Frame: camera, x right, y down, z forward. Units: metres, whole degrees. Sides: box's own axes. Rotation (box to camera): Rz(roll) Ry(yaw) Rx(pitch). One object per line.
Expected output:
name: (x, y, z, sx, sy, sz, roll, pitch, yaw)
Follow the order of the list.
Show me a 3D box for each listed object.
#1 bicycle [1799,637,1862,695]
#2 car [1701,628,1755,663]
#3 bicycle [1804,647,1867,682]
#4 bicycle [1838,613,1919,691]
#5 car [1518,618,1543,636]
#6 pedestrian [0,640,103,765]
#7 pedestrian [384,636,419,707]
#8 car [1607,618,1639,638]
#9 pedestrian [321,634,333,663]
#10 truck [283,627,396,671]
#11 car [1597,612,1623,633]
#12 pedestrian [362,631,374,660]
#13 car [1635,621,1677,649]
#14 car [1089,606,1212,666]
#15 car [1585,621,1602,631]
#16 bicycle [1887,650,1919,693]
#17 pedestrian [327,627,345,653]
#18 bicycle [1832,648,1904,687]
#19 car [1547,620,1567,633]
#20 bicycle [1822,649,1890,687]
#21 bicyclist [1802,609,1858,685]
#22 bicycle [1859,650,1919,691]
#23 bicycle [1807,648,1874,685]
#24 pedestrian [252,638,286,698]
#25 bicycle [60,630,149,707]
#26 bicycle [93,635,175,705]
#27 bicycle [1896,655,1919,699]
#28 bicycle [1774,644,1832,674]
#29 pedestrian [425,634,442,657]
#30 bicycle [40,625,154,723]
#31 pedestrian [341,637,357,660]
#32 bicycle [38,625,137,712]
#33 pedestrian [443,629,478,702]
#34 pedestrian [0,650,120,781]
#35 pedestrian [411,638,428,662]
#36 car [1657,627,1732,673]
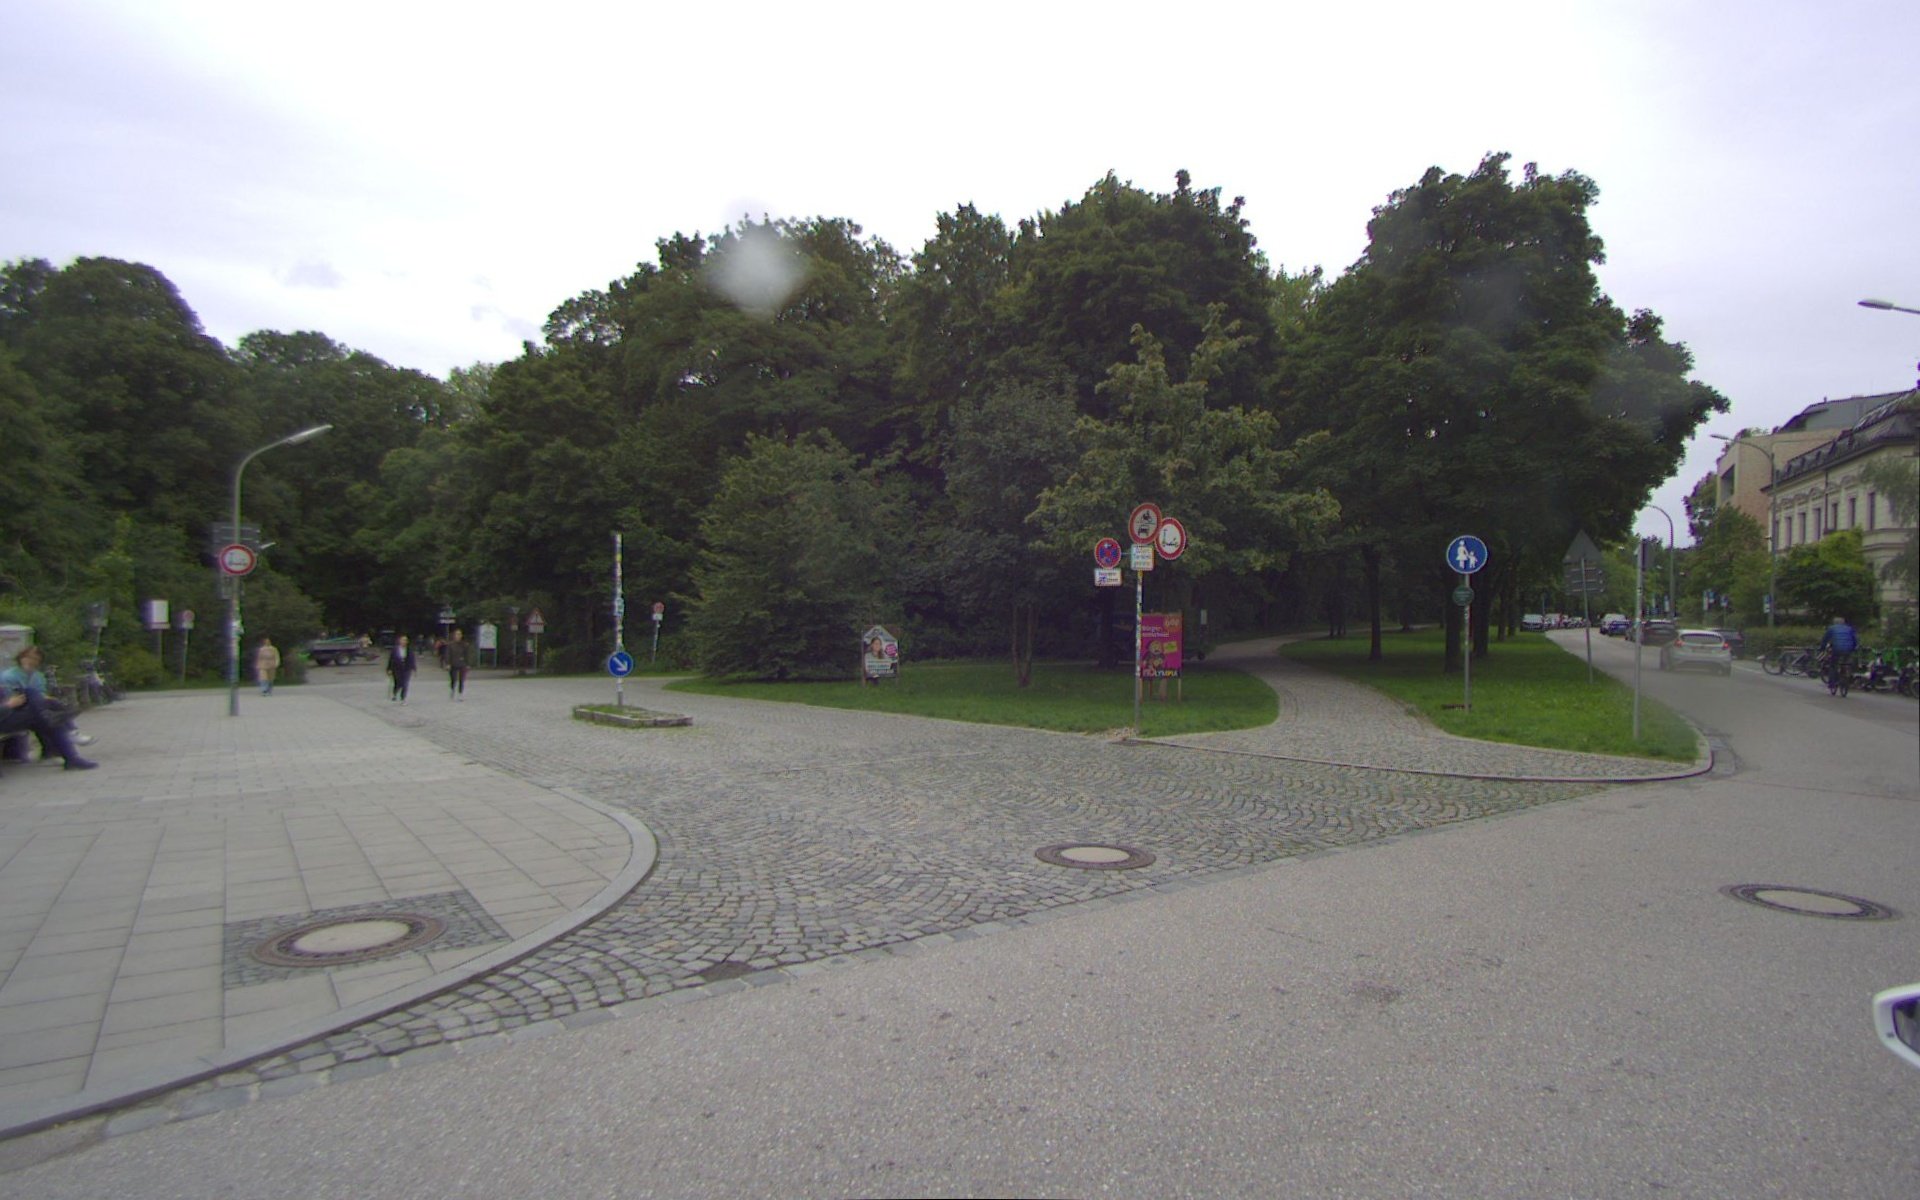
bicycle: (21.004, 1.557, 24.276, 0.909, 1.269, 2.314, 0, -1, 35)
car: (36.540, 2.126, 47.873, 1.623, 1.579, 3.552, 0, -1, 31)
bicycle: (25.863, 1.903, 29.675, 1.507, 1.028, 0.409, 0, -1, 0)
bicycle: (24.321, 1.377, 26.589, 1.643, 2.040, 0.457, 0, -1, 4)
car: (52.752, 2.455, 92.892, 1.964, 1.622, 4.460, 0, -1, 29)
pedestrian: (-10.757, 1.164, 11.782, 1.025, 1.353, 0.944, 1, -1, -43)
pedestrian: (-13.151, 1.668, 23.653, 0.684, 1.602, 0.745, 1, -1, -32)
car: (58.642, 2.467, 88.847, 1.964, 1.622, 4.248, 0, -1, 28)
pedestrian: (-44.660, 3.410, 70.863, 0.690, 2.040, 0.711, 0, -1, -36)
truck: (-37.699, 2.927, 61.232, 2.354, 2.493, 5.491, 0, -1, 23)
car: (62.861, 2.202, 97.224, 2.037, 1.992, 4.965, 0, -1, 32)
pedestrian: (-42.305, 3.270, 71.819, 0.690, 2.040, 0.711, 0, -1, -36)
car: (45.443, 2.250, 65.623, 1.766, 1.702, 3.994, 0, -1, 28)
car: (6.688, 1.257, 35.482, 3.924, 2.040, 1.787, 1, -1, -5)
car: (104.751, 4.240, 166.024, 1.968, 1.622, 4.449, 0, -1, 38)
bicycle: (23.742, 1.774, 25.095, 1.518, 1.028, 0.364, 1, -1, -29)
pedestrian: (-49.908, 3.198, 80.366, 1.044, 2.040, 1.134, 1, -2, -43)
bicycle: (24.576, 1.820, 27.197, 1.507, 1.028, 0.409, 0, -1, 4)
car: (77.941, 3.417, 131.126, 1.966, 1.622, 4.455, 0, -1, 33)
bicycle: (24.727, 1.879, 27.720, 1.507, 1.028, 0.409, 0, -1, 0)
bicyclist: (21.030, 1.117, 24.292, 0.902, 1.787, 1.211, 0, -1, 36)
bicycle: (24.337, 1.820, 26.084, 1.506, 1.028, 0.367, 0, -1, 9)
bicycle: (24.742, 1.863, 28.225, 1.507, 1.028, 0.409, 0, -1, 0)
pedestrian: (-20.900, 2.028, 30.374, 0.743, 1.728, 1.099, 1, -1, -39)
bicycle: (-20.465, 1.583, 24.005, 3.103, 1.684, 1.048, 0, -1, 39)
bicycle: (-21.828, 1.800, 26.504, 3.103, 1.684, 1.048, 0, -1, 39)
bicycle: (22.857, 1.800, 23.366, 1.510, 1.028, 0.366, -1, -1, 28)
bicycle: (29.293, 2.041, 34.906, 1.506, 1.028, 0.410, 0, -1, 13)
pedestrian: (-38.493, 3.341, 73.469, 0.721, 1.674, 0.879, -1, -1, 36)
bicycle: (-16.414, 1.340, 19.070, 3.103, 1.684, 1.048, 0, -1, 38)
pedestrian: (-40.948, 3.261, 67.316, 0.651, 1.514, 0.628, 0, -1, -5)
bicycle: (-18.625, 1.394, 21.402, 2.957, 1.684, 1.048, 0, -1, 38)
pedestrian: (-12.139, 1.572, 24.400, 0.654, 1.720, 0.744, 1, -1, -34)
pedestrian: (-9.742, 1.191, 10.637, 1.257, 1.285, 0.840, 1, -1, -43)
pedestrian: (-38.821, 3.568, 72.159, 0.867, 1.674, 0.732, 0, -1, -12)
car: (24.868, 1.665, 34.113, 1.722, 1.425, 3.719, 0, -1, 32)
